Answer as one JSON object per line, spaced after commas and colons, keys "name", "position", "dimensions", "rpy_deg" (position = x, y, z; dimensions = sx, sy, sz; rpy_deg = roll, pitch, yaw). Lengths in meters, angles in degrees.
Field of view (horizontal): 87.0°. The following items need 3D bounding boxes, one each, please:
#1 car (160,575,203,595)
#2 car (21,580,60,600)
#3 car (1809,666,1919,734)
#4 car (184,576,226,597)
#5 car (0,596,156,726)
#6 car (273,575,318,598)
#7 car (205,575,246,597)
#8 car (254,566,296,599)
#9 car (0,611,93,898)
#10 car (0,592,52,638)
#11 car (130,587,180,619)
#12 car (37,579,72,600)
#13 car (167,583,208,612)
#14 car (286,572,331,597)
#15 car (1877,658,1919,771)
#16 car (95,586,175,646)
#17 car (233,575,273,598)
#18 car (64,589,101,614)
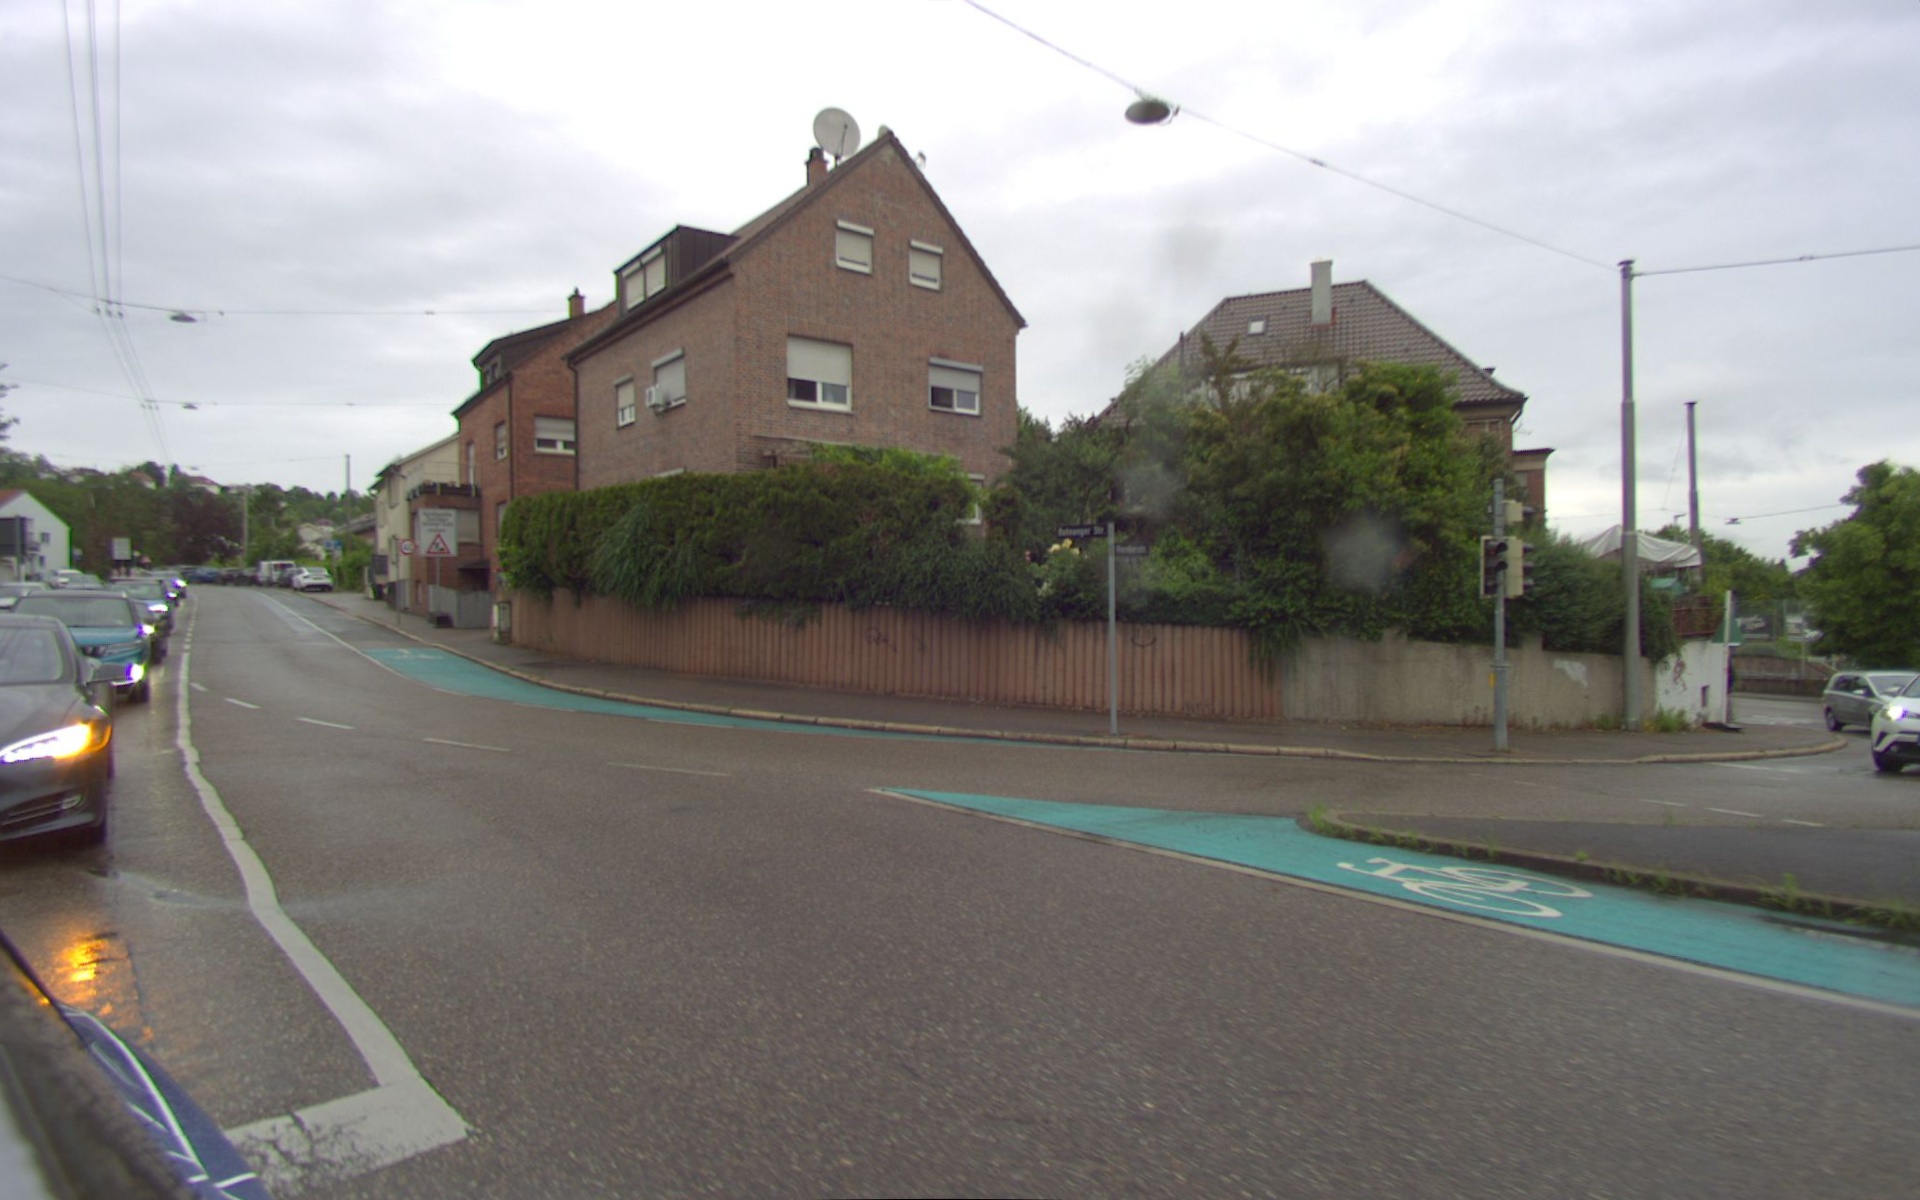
{"name": "car", "position": [-71.041, -1.373, 92.319], "dimensions": [4.311, 1.772, 1.754], "rpy_deg": [0, 0, 33]}
{"name": "car", "position": [-68.896, -0.771, 75.825], "dimensions": [3.361, 1.410, 1.595], "rpy_deg": [1, 2, 38]}
{"name": "car", "position": [23.788, 2.518, 25.823], "dimensions": [1.703, 1.597, 4.431], "rpy_deg": [-1, -4, 19]}
{"name": "car", "position": [-66.874, -1.198, 89.571], "dimensions": [4.315, 1.772, 1.752], "rpy_deg": [0, 0, 36]}
{"name": "car", "position": [-12.976, 0.771, 14.710], "dimensions": [1.774, 1.622, 4.046], "rpy_deg": [-1, 0, -42]}
{"name": "car", "position": [-48.225, -0.949, 73.468], "dimensions": [1.922, 1.622, 4.453], "rpy_deg": [-1, 0, -44]}
{"name": "car", "position": [-62.553, -1.199, 86.195], "dimensions": [4.319, 1.772, 1.751], "rpy_deg": [0, 0, 38]}
{"name": "car", "position": [-53.426, -1.365, 78.930], "dimensions": [1.983, 2.475, 4.453], "rpy_deg": [-1, 0, -44]}
{"name": "car", "position": [-6.638, 0.802, 6.316], "dimensions": [1.808, 1.402, 4.330], "rpy_deg": [-1, 0, -41]}
{"name": "car", "position": [-32.670, 0.492, 35.086], "dimensions": [1.528, 1.462, 3.372], "rpy_deg": [-1, 2, -38]}
{"name": "car", "position": [-38.705, 0.179, 48.629], "dimensions": [1.732, 1.471, 4.047], "rpy_deg": [1, -1, -41]}
{"name": "car", "position": [-64.598, -0.762, 72.194], "dimensions": [3.366, 1.410, 1.593], "rpy_deg": [2, 2, 43]}
{"name": "car", "position": [-47.667, -0.169, 62.421], "dimensions": [1.732, 1.662, 4.048], "rpy_deg": [-3, 2, -41]}
{"name": "car", "position": [-44.115, -1.050, 68.459], "dimensions": [1.920, 1.622, 4.456], "rpy_deg": [-1, 0, -41]}
{"name": "car", "position": [14.657, 1.588, 14.220], "dimensions": [4.189, 1.478, 1.717], "rpy_deg": [3, -3, -35]}
{"name": "car", "position": [-24.724, 0.474, 30.281], "dimensions": [1.732, 1.662, 4.047], "rpy_deg": [1, -1, -41]}
{"name": "car", "position": [-57.824, -1.084, 82.790], "dimensions": [4.323, 1.772, 1.749], "rpy_deg": [0, 0, 42]}
{"name": "car", "position": [-52.854, 0.067, 60.934], "dimensions": [1.591, 1.410, 3.369], "rpy_deg": [-1, 2, -42]}
